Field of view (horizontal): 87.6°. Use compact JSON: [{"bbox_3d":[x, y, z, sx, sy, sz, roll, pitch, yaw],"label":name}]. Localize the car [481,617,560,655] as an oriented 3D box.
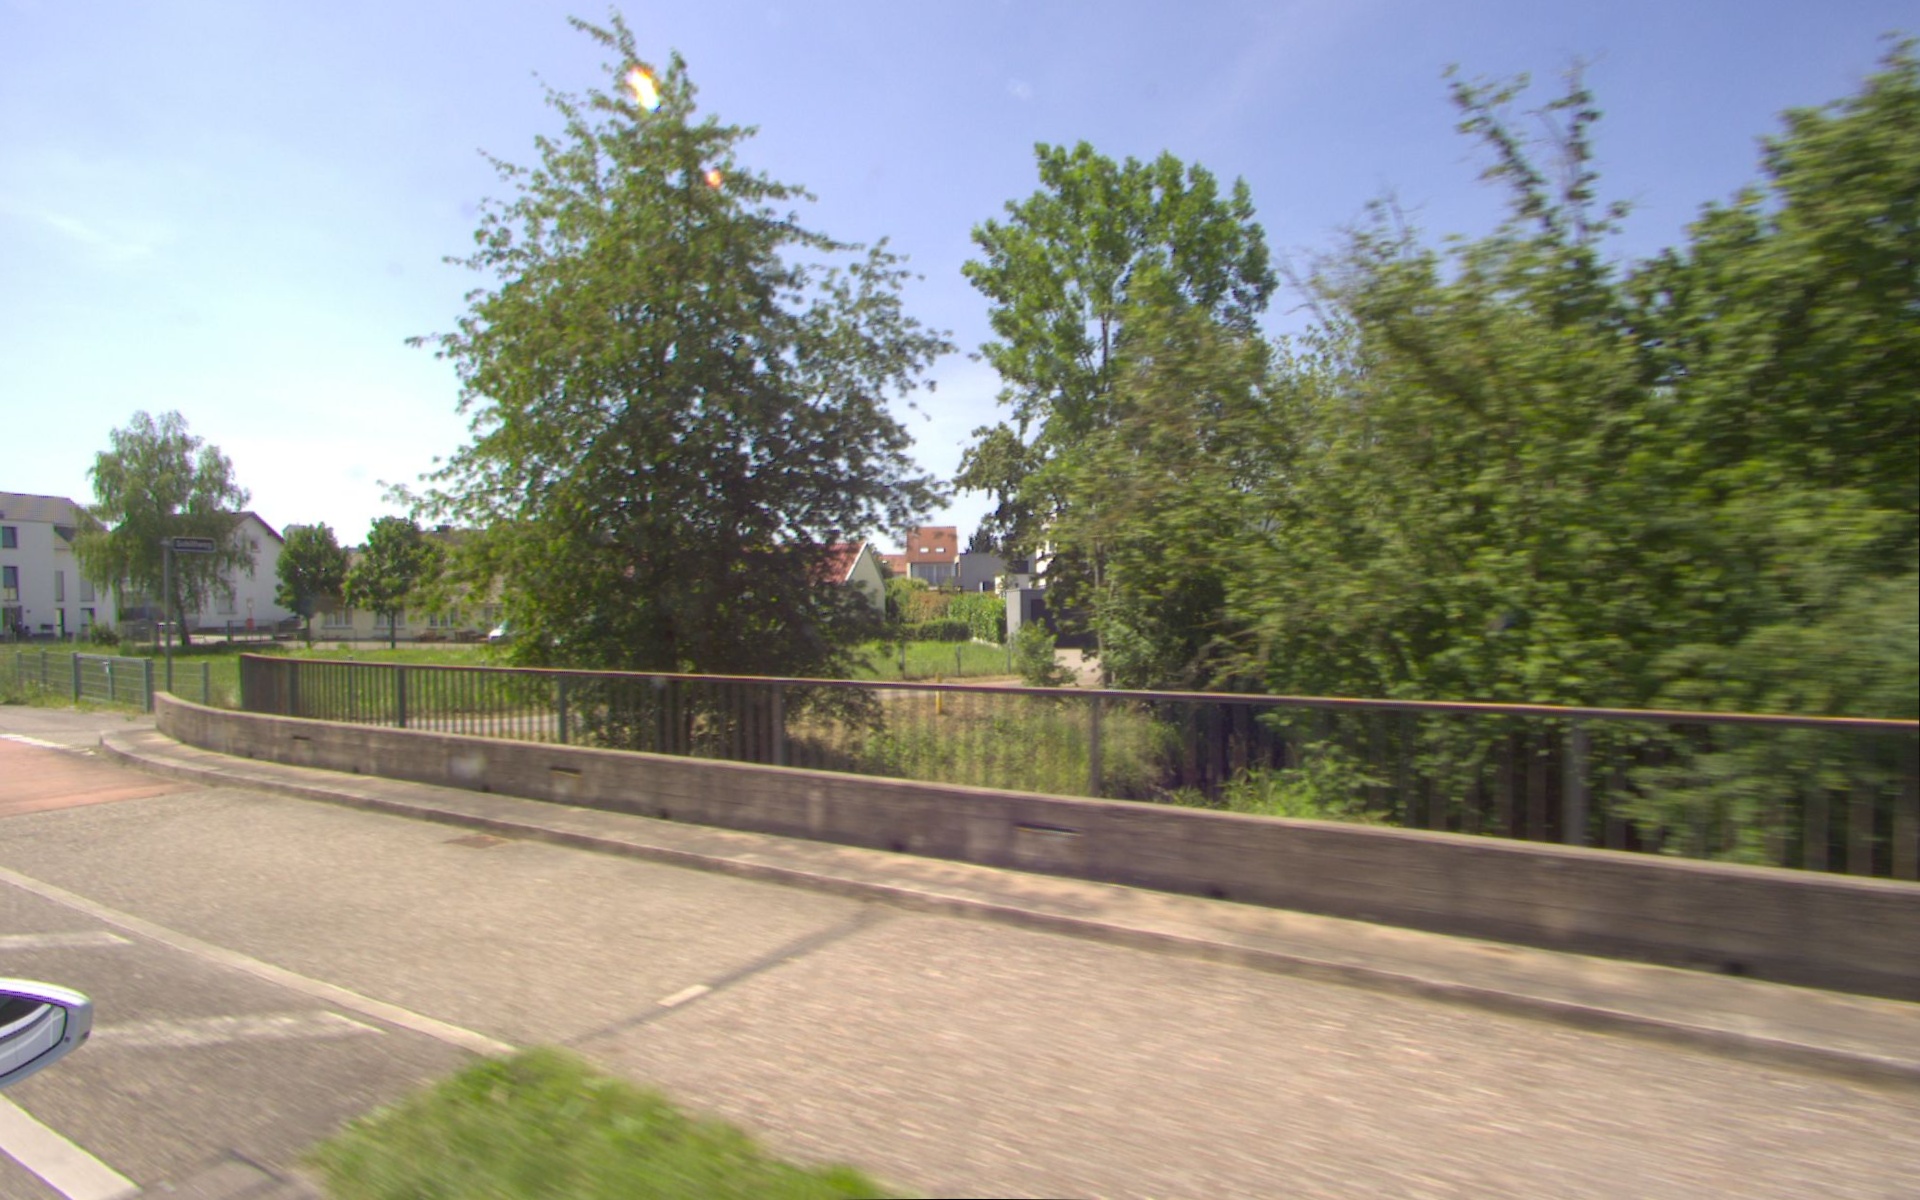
[{"bbox_3d":[-26.829,2.195,61.365,2.172,2.229,5.186,0,-1,6],"label":"car"}]
